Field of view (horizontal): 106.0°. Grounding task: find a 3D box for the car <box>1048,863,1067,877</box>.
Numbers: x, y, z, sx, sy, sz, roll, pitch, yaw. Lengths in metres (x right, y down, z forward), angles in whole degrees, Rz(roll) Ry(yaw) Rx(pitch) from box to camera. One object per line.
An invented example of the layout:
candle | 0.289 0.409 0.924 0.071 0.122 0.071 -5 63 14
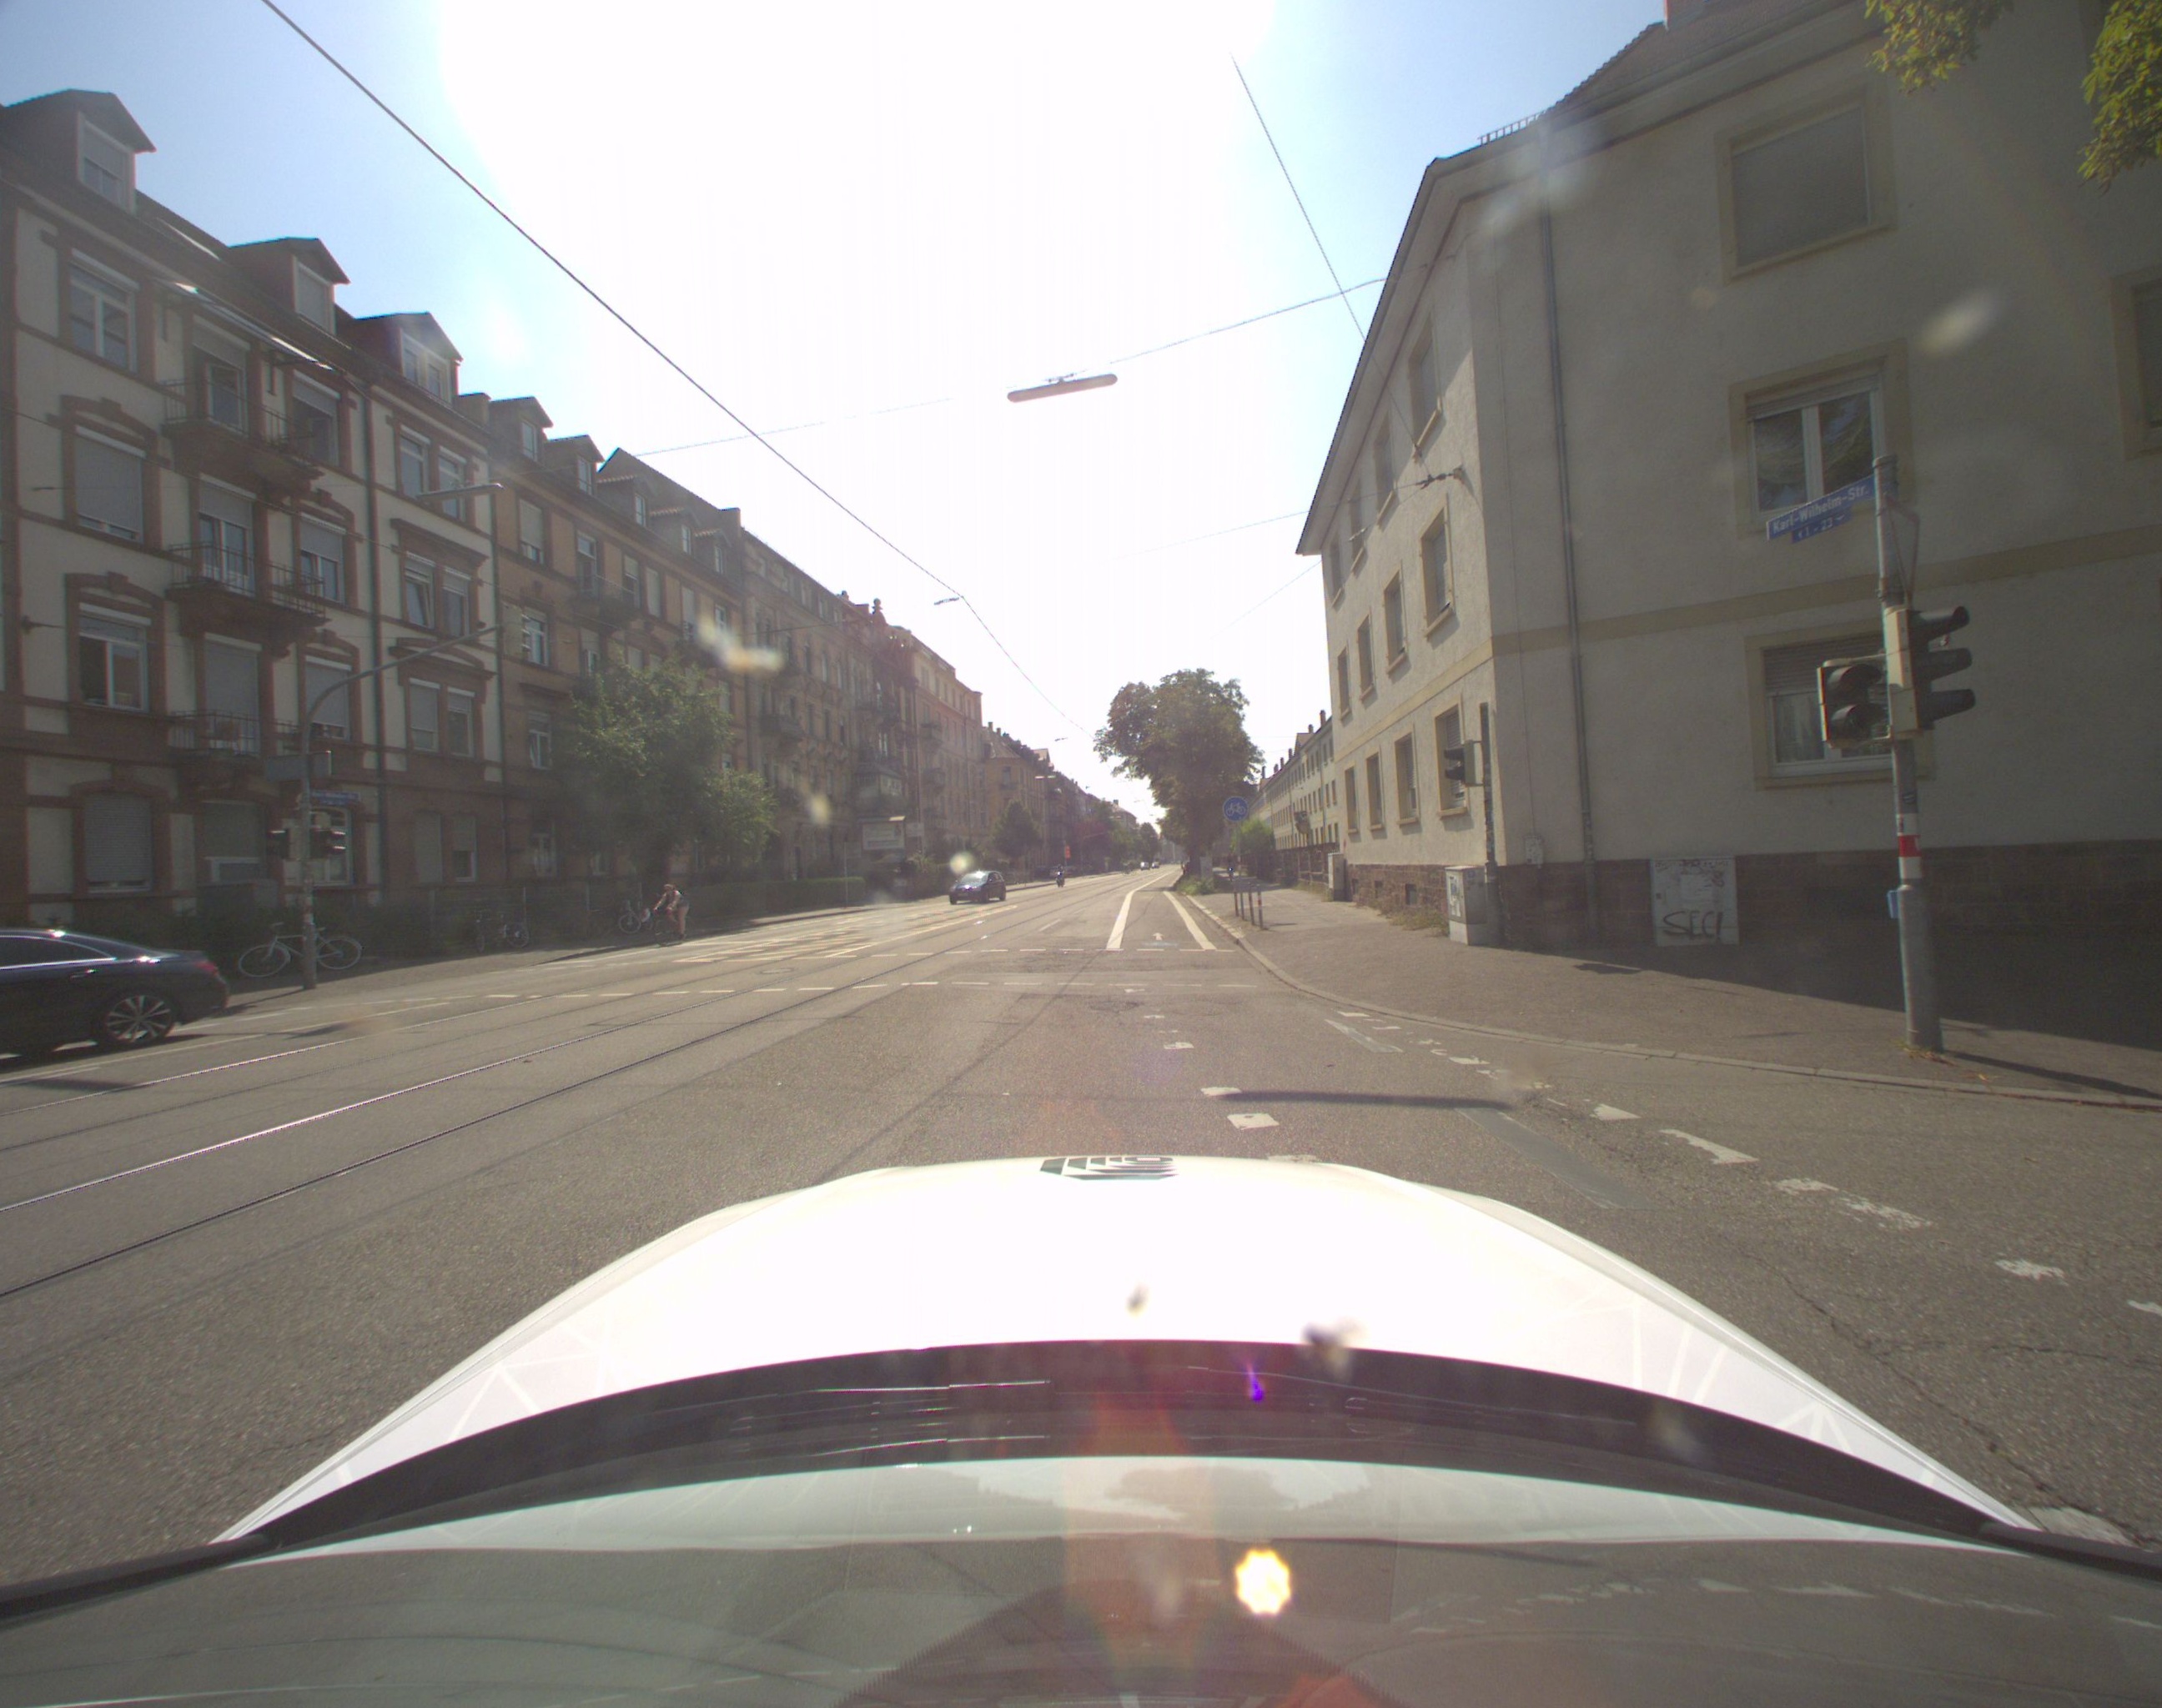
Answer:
car | -2.985 2.024 104.906 1.985 1.594 4.364 -4 -1 4

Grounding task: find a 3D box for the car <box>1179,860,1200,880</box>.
car | 8.974 1.331 67.307 1.608 1.477 4.048 -5 -1 8

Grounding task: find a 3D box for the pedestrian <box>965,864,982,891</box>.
pedestrian | -7.255 1.604 54.958 0.878 1.756 0.872 -3 -1 7

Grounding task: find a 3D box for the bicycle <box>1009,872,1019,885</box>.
bicycle | -5.924 2.162 71.791 0.388 1.038 1.837 -3 -1 9

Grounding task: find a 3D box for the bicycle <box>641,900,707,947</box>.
bicycle | -10.731 1.819 21.541 0.577 1.066 1.847 -4 -1 8

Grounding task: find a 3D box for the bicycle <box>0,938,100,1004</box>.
bicycle | -18.302 2.048 14.055 0.389 0.997 1.689 -4 -1 45

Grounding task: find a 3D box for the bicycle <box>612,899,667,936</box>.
bicycle | -13.448 1.922 24.851 0.484 0.986 1.662 -3 -1 11

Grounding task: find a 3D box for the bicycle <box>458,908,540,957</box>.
bicycle | -14.488 1.940 20.335 0.484 1.021 1.783 -3 -1 11

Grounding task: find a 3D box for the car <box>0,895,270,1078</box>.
car | -11.416 1.401 7.907 1.982 1.648 4.643 -4 -1 9

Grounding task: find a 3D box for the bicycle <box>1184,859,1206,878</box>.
bicycle | 7.409 0.949 52.911 1.396 1.108 0.386 -3 -1 -28

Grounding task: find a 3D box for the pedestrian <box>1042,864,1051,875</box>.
pedestrian | -4.773 2.116 111.804 0.887 1.511 0.863 -3 -1 -23

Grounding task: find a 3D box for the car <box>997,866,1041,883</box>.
car | -6.373 2.096 83.693 4.077 1.594 1.883 -3 -1 9

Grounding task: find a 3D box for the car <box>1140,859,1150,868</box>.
car | 12.957 1.933 164.615 1.817 1.540 4.008 -4 -1 7

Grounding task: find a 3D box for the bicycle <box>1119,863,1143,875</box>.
bicycle | 6.124 1.867 100.732 2.705 1.269 1.147 -3 -1 -12

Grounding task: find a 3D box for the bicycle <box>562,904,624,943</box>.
bicycle | -13.841 1.955 23.166 0.484 0.941 1.662 -3 -1 11

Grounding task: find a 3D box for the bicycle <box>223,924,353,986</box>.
bicycle | -15.925 1.999 16.402 0.483 0.997 1.841 -4 -1 45

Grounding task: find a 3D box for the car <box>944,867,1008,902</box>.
car | -4.852 1.398 38.327 1.716 1.433 4.190 -1 0 11

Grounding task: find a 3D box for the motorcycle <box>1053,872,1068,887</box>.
motorcycle | -1.506 1.879 61.022 0.687 1.031 2.162 -3 -1 9

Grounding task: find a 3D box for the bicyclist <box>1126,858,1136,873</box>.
bicyclist | 6.144 1.461 100.742 0.952 1.837 1.126 -3 -2 -8

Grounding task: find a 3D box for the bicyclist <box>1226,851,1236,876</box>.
bicyclist | 9.042 0.570 49.023 0.435 1.512 0.472 -3 -1 4

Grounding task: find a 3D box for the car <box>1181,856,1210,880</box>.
car | 8.342 0.978 59.062 1.605 1.530 3.512 -5 -1 14

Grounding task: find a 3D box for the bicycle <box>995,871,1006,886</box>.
bicycle | -6.520 1.996 65.986 0.388 1.147 1.585 -3 -1 9

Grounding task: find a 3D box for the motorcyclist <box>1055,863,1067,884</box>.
motorcyclist | -1.510 1.468 61.123 0.685 1.511 0.774 -3 -1 9

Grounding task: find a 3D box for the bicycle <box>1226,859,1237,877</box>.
bicycle | 9.057 0.844 49.001 0.438 1.047 1.831 -3 -1 5

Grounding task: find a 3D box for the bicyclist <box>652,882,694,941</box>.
bicyclist | -10.753 1.504 21.474 0.577 1.470 0.778 -4 -1 7
